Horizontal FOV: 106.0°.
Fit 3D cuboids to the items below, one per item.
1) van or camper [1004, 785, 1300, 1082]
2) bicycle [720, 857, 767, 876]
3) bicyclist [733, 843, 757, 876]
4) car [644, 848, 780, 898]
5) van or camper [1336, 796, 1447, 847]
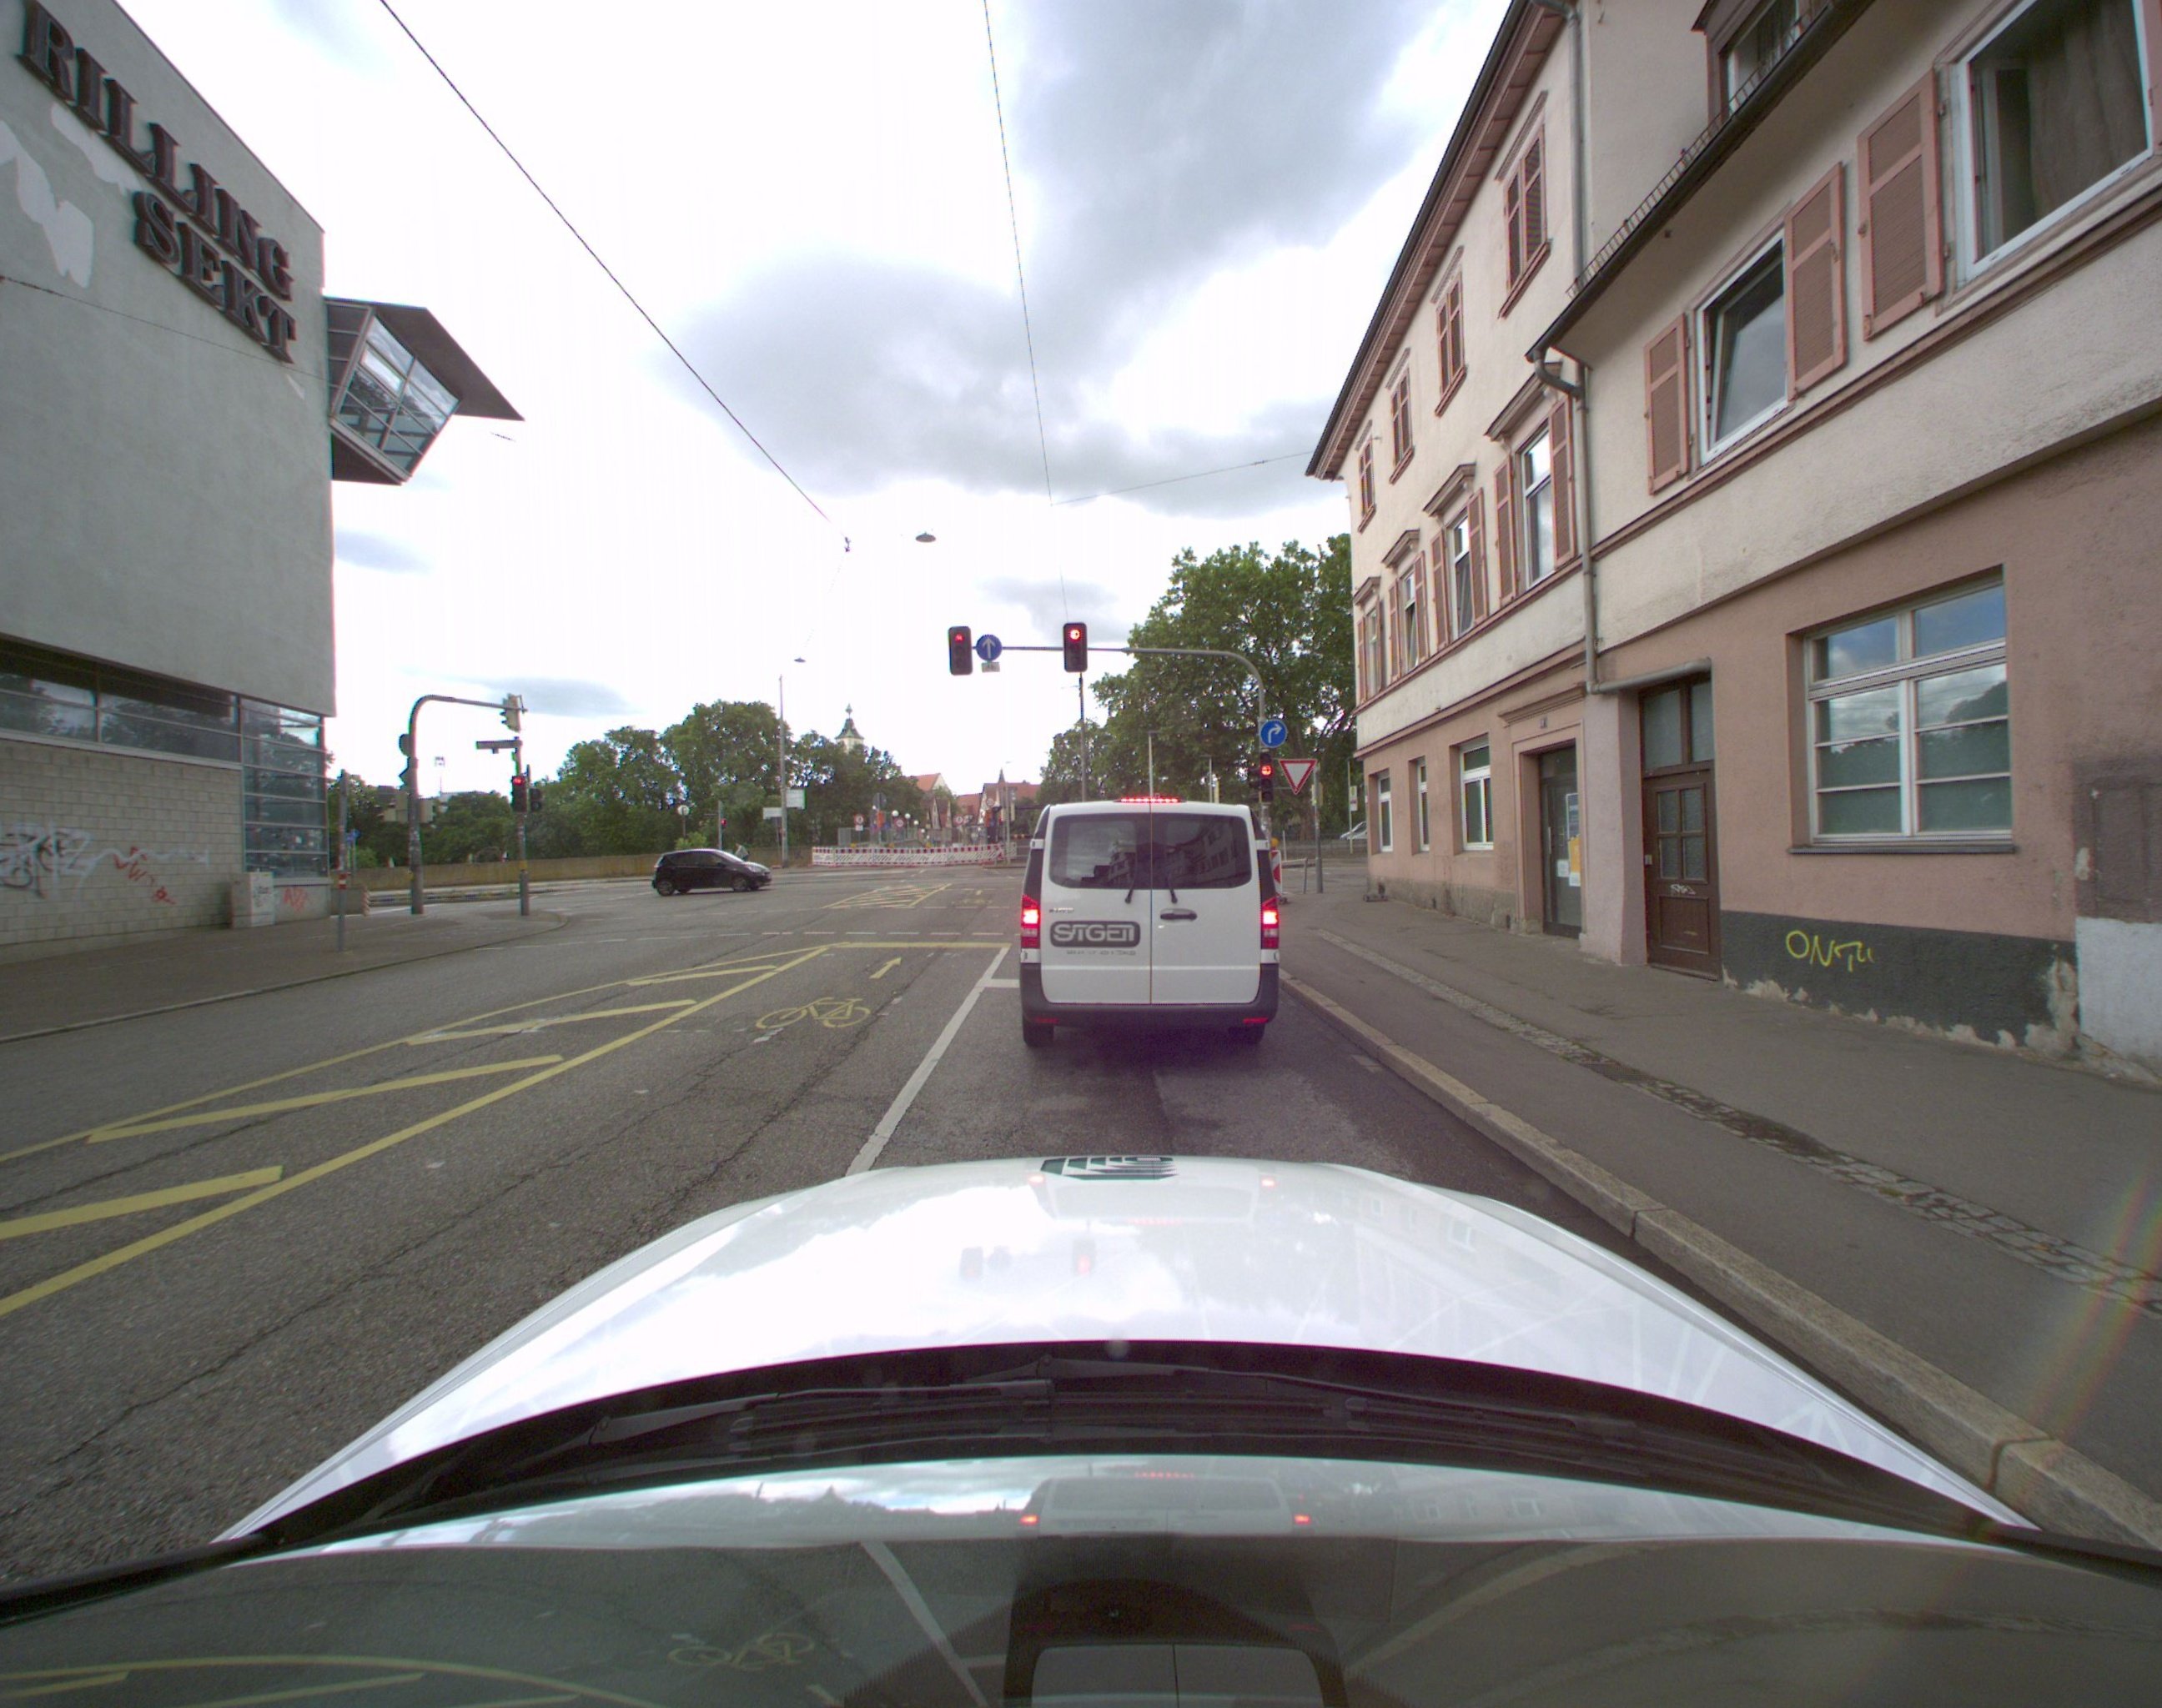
[{"bbox_3d":[0.429,0.446,7.533,1.932,1.924,4.439,0,2,-1],"label":"van or camper"},{"bbox_3d":[-18.007,0.639,43.462,2.150,0.892,0.751,-3,2,-42],"label":"bicycle"},{"bbox_3d":[-17.951,0.271,43.511,1.010,1.743,0.746,-2,1,-40],"label":"bicyclist"},{"bbox_3d":[-12.379,0.598,27.536,3.741,1.428,1.824,-3,2,-7],"label":"car"},{"bbox_3d":[17.355,-1.786,45.669,5.374,2.514,2.036,-2,-2,0],"label":"van or camper"}]
